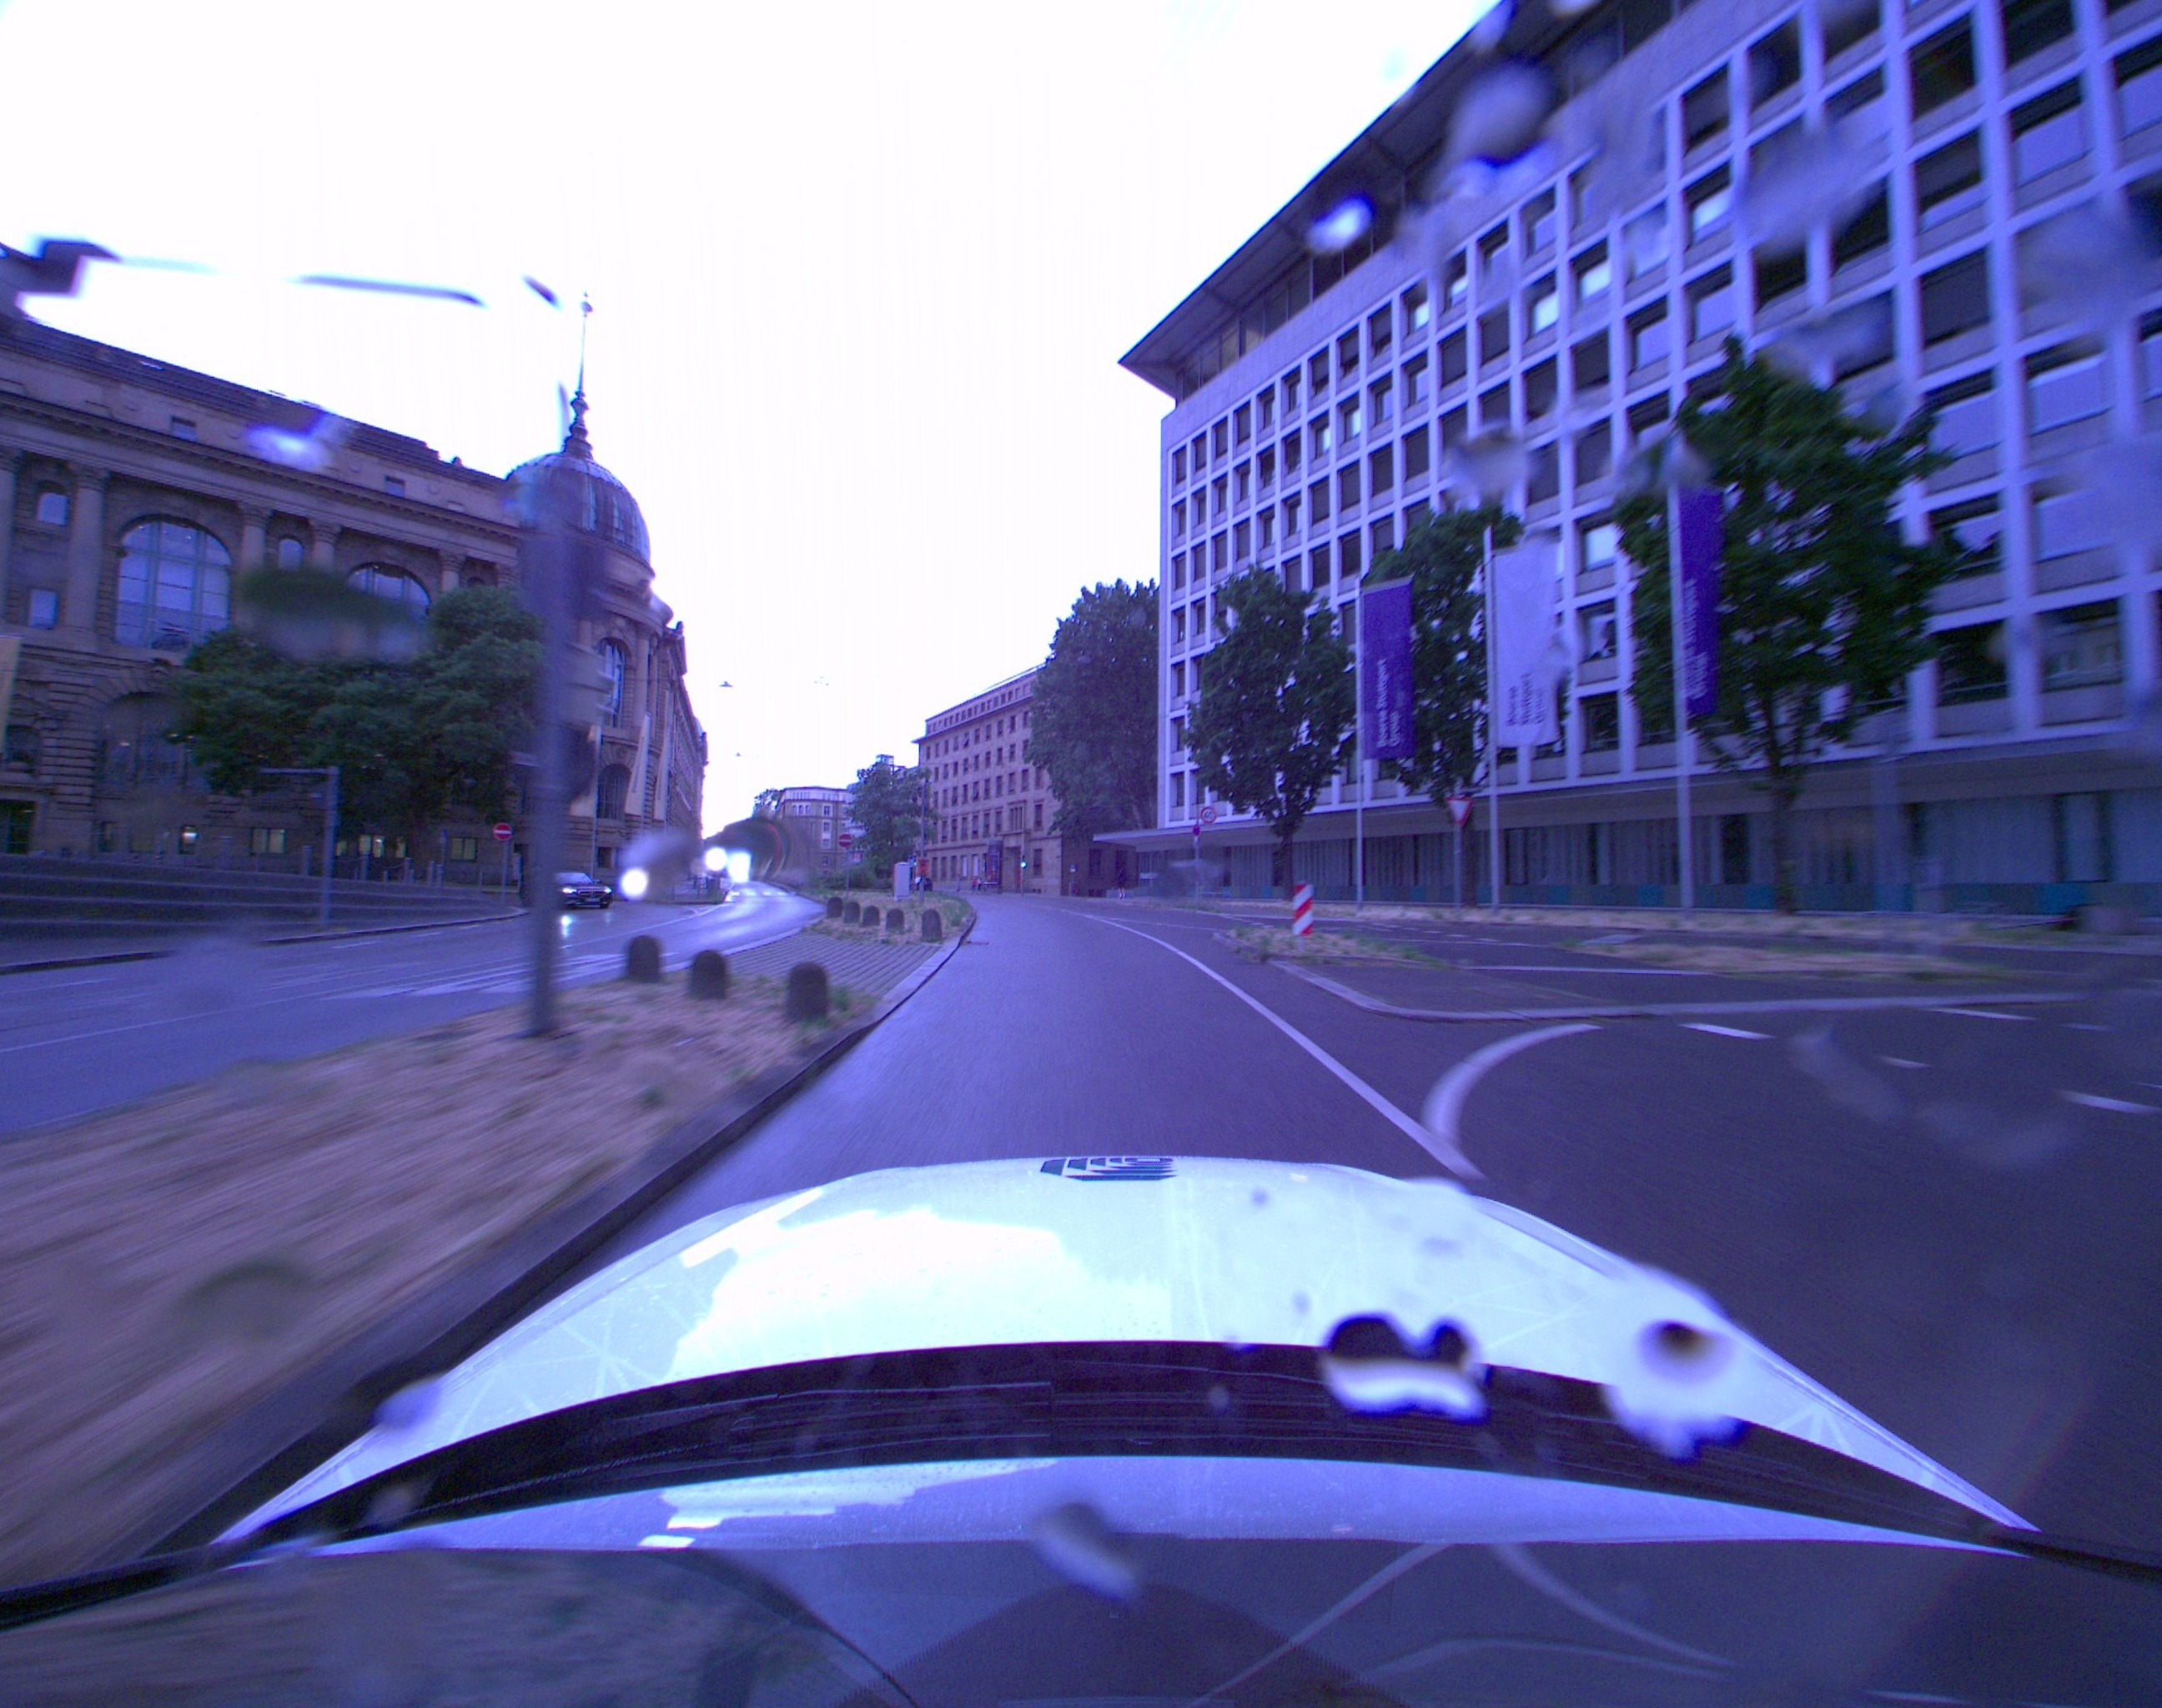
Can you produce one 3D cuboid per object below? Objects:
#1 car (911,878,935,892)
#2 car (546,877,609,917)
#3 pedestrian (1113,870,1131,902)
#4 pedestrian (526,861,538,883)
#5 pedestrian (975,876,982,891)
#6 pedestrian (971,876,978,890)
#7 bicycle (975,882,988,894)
[{"bbox_3d":[-18.693,3.646,96.152,1.777,1.620,4.122,3,-3,-25],"label":"car"},{"bbox_3d":[-20.383,1.708,32.989,2.007,1.493,4.793,1,-3,-32],"label":"car"},{"bbox_3d":[2.387,1.857,47.318,0.782,1.772,0.857,2,-3,-20],"label":"pedestrian"},{"bbox_3d":[-33.602,1.098,49.858,0.444,1.345,0.636,3,-3,-42],"label":"pedestrian"},{"bbox_3d":[-10.998,3.147,87.569,0.527,1.603,0.668,2,-3,-24],"label":"pedestrian"},{"bbox_3d":[-11.454,3.138,87.258,0.527,1.492,0.668,3,-3,-26],"label":"pedestrian"},{"bbox_3d":[-8.620,2.964,70.625,0.491,1.012,1.911,3,-3,-26],"label":"bicycle"}]
